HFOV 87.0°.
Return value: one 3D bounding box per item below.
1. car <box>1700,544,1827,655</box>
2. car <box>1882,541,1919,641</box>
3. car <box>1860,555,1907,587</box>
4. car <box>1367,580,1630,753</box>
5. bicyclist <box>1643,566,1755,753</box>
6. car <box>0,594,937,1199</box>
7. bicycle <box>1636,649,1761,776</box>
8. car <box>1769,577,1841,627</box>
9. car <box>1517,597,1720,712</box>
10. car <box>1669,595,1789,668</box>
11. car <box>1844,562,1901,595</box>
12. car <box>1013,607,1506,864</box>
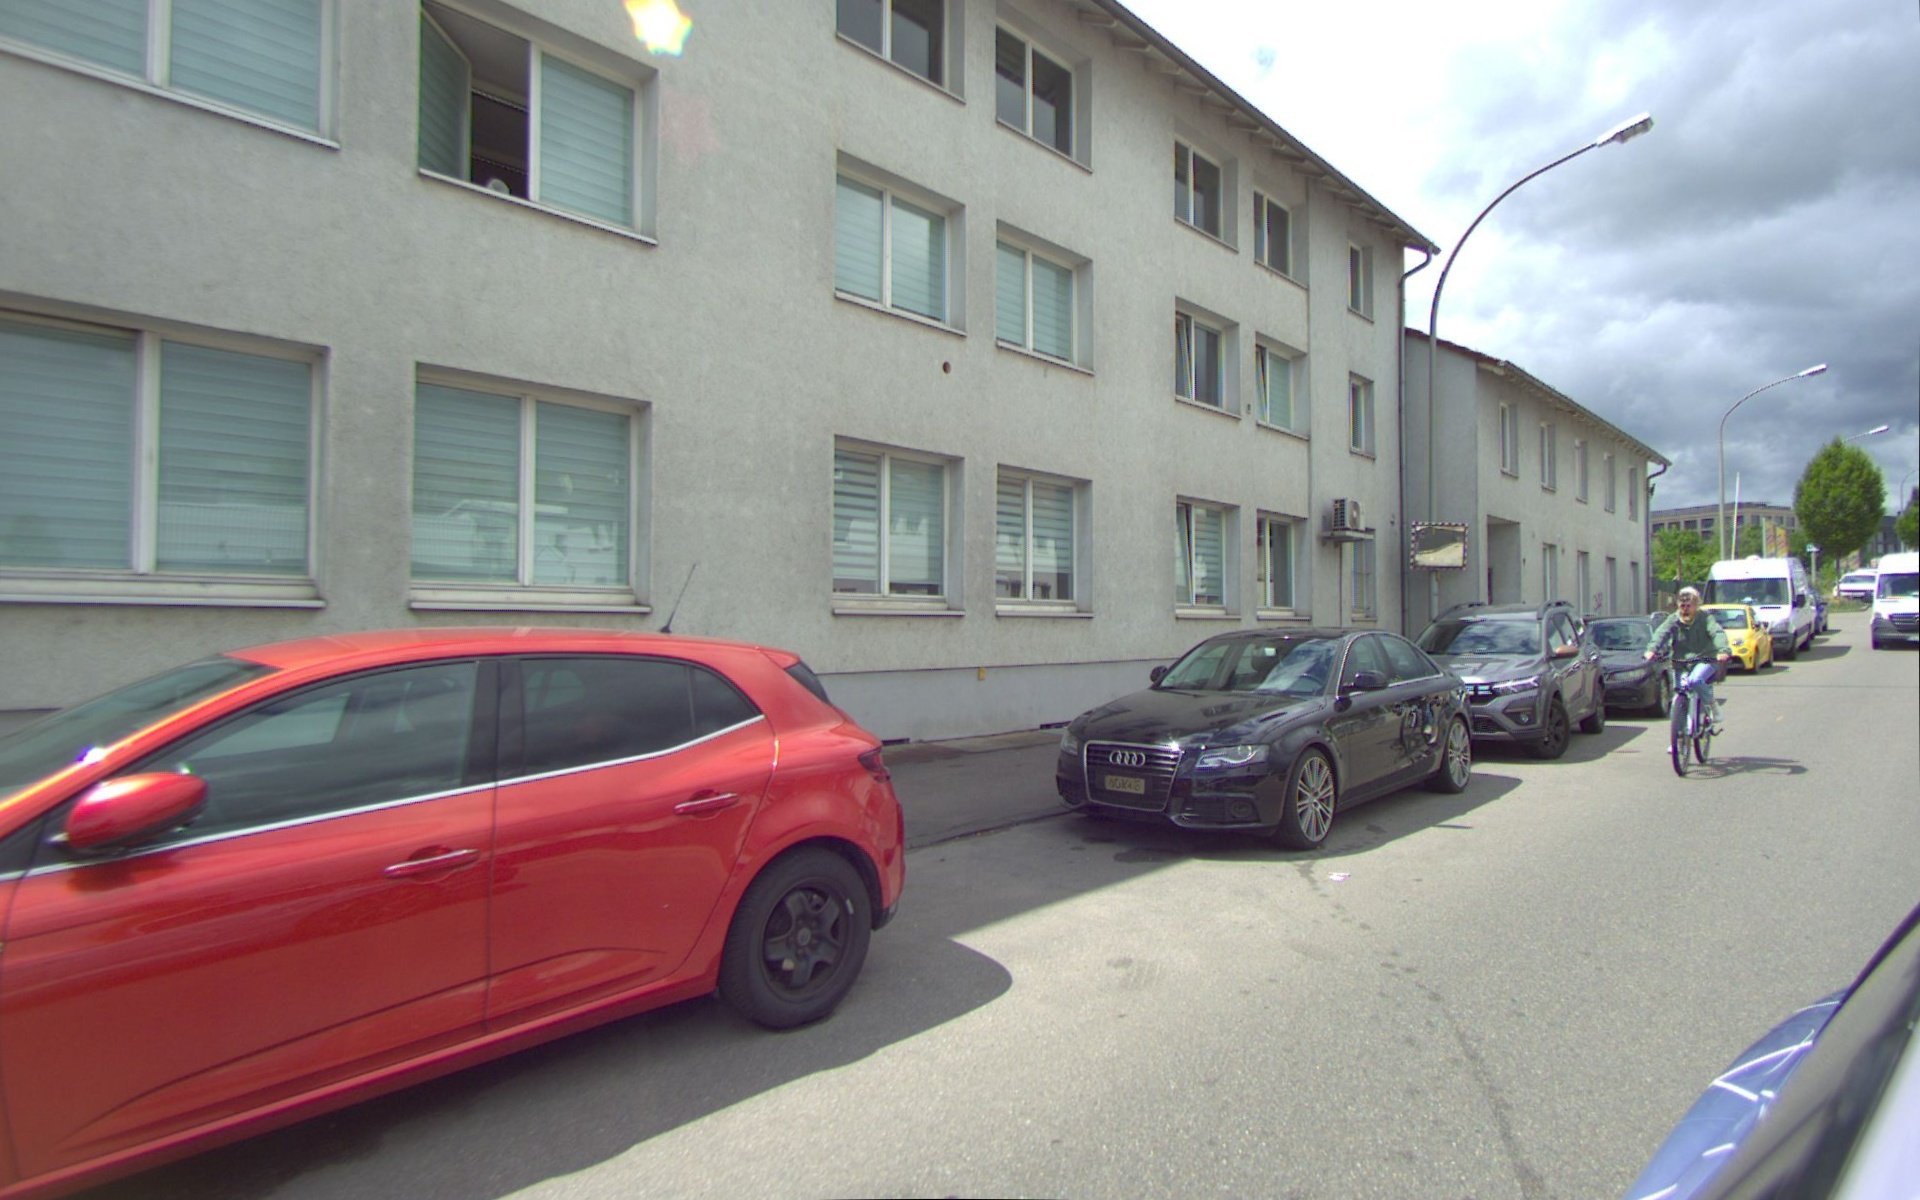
[{"bbox_3d":[21.994,-0.141,27.547,2.033,2.674,7.171,-1,1,44],"label":"car"},{"bbox_3d":[27.404,-0.364,28.200,5.964,2.623,2.078,-3,1,-44],"label":"car"},{"bbox_3d":[52.201,-1.631,57.186,4.407,1.680,1.686,-3,2,-44],"label":"car"},{"bbox_3d":[6.565,0.691,12.055,1.675,1.659,4.724,-4,-3,41],"label":"car"},{"bbox_3d":[6.928,0.528,9.482,0.739,1.647,0.720,-2,1,43],"label":"bicyclist"},{"bbox_3d":[-2.187,0.753,3.228,4.191,1.491,1.735,0,-2,-45],"label":"car"},{"bbox_3d":[6.984,1.001,9.538,0.740,0.987,1.706,-1,0,43],"label":"bicycle"},{"bbox_3d":[29.479,0.044,35.266,1.567,1.529,4.029,-1,1,45],"label":"car"},{"bbox_3d":[10.431,0.781,15.848,1.704,1.530,5.006,-4,-3,44],"label":"car"},{"bbox_3d":[17.425,0.652,22.874,3.728,1.466,1.593,-1,0,-44],"label":"car"},{"bbox_3d":[47.964,-1.161,53.177,4.392,1.584,1.844,-3,3,-43],"label":"car"},{"bbox_3d":[2.646,0.798,8.039,1.734,1.442,4.783,-2,-2,44],"label":"car"}]
